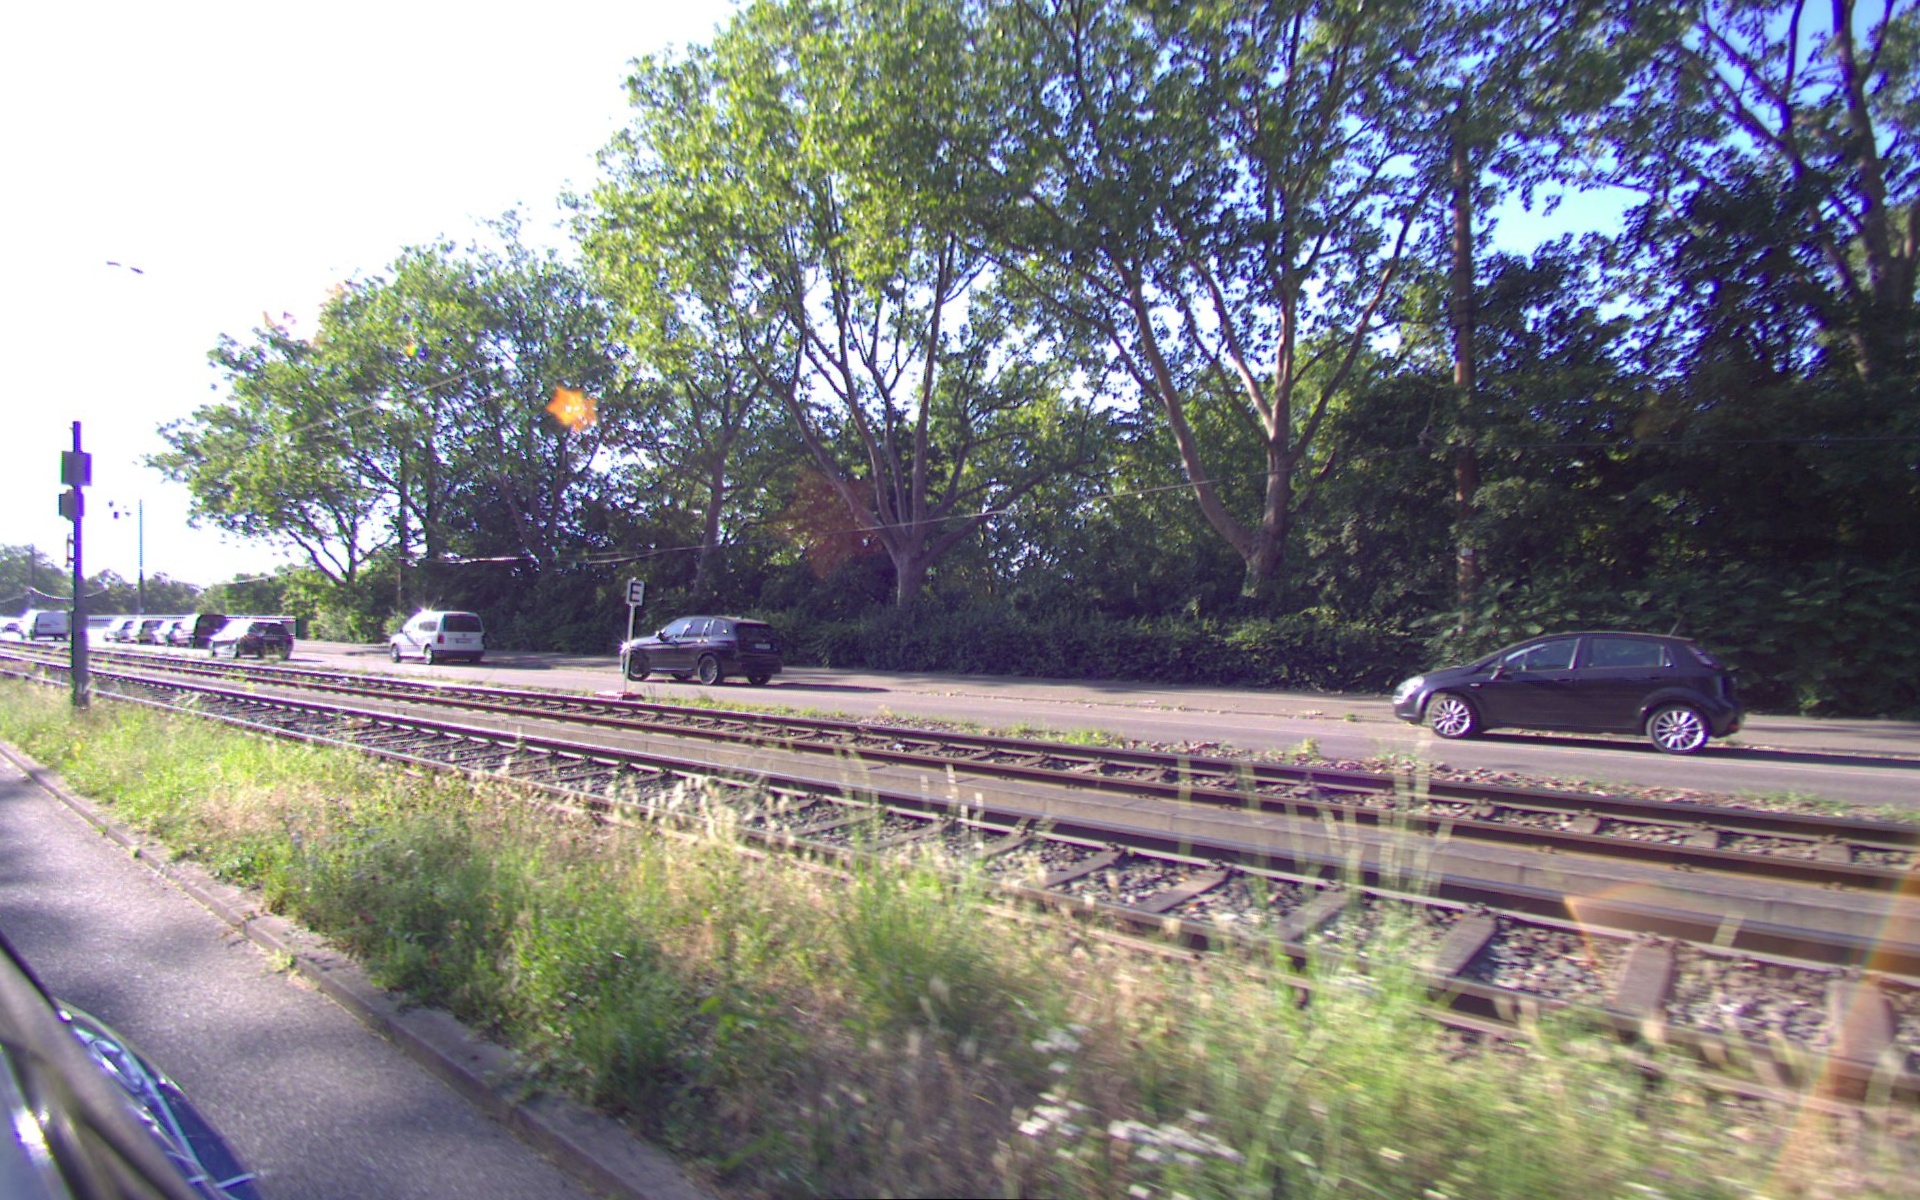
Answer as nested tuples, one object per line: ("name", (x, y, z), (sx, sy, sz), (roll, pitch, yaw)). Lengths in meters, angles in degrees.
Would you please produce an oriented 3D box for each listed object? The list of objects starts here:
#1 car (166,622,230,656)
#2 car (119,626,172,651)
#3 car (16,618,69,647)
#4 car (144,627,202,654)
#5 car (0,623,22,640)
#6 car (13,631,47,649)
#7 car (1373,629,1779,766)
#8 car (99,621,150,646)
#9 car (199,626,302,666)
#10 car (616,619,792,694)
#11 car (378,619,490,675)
("car", (-40.336, 2.042, 53.533), (3.894, 1.753, 1.713), (-1, -3, 38))
("car", (-48.730, 2.292, 60.519), (3.781, 1.453, 1.638), (-1, -3, 39))
("car", (-59.428, 2.093, 65.527), (5.031, 1.866, 1.808), (-1, -3, 40))
("car", (-44.430, 2.276, 57.115), (3.780, 1.453, 1.638), (-1, -3, 38))
("car", (-89.406, 2.923, 94.830), (3.922, 1.511, 1.637), (-1, -3, 40))
("car", (-80.590, 3.480, 87.654), (3.922, 1.511, 1.637), (-1, -3, 40))
("car", (8.026, 1.168, 13.472), (4.388, 1.517, 1.809), (-1, -3, 38))
("car", (-52.845, 2.117, 64.017), (3.919, 1.511, 1.638), (-1, -3, 38))
("car", (-26.924, 1.724, 38.348), (4.744, 1.426, 1.901), (-1, -3, 39))
("car", (-6.462, 1.364, 25.375), (4.383, 1.732, 1.812), (-1, -3, 34))
("car", (-18.576, 1.602, 35.672), (4.388, 1.854, 1.809), (-1, -3, 38))
